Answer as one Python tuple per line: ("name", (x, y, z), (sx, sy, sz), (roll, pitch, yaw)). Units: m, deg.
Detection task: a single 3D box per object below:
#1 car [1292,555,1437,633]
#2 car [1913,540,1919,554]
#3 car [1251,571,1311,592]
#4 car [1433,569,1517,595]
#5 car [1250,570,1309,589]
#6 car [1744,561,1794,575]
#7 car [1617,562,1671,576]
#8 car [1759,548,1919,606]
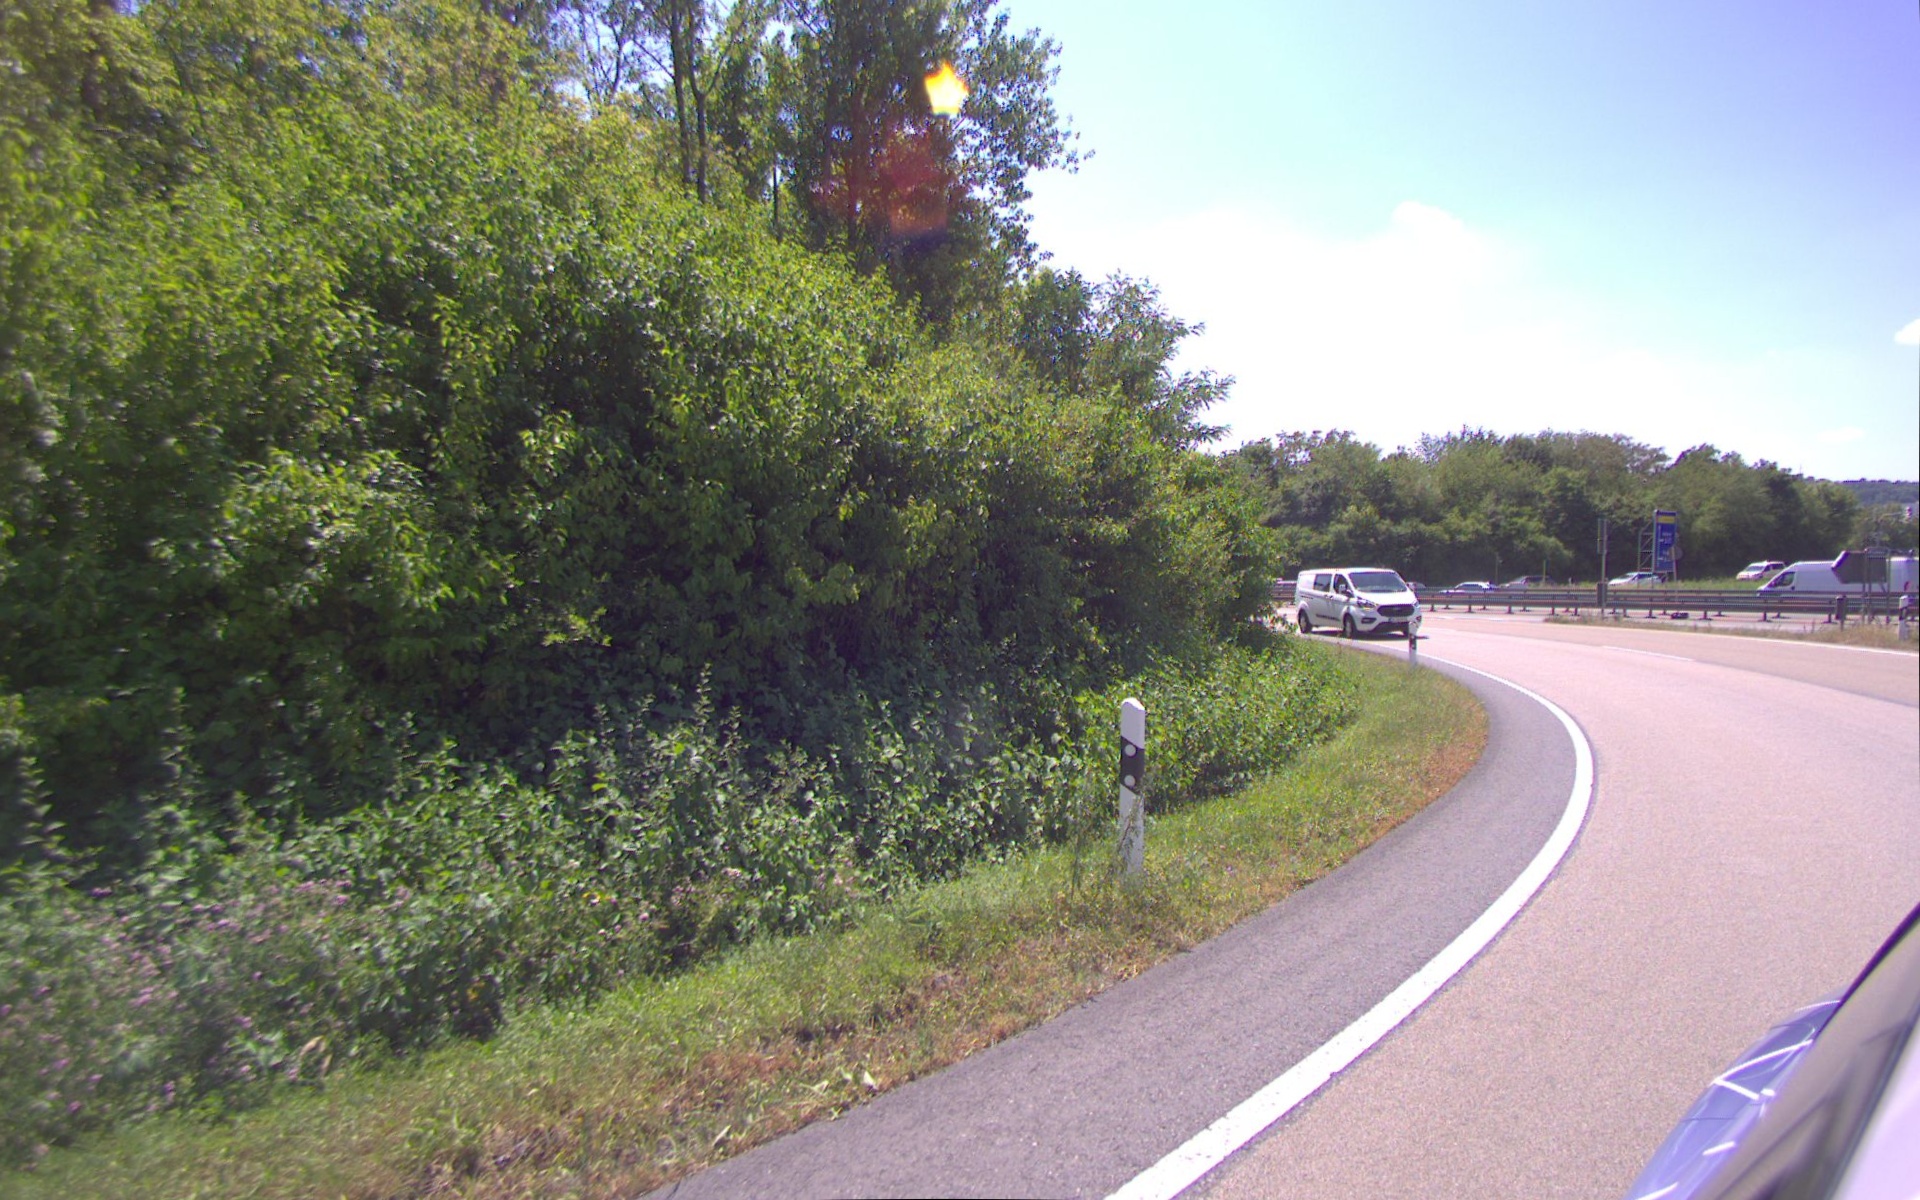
("car", (12.014, -0.206, 30.496), (2.024, 2.038, 5.044), (-3, 1, -3))
("car", (101.279, -5.510, 105.779), (3.499, 1.450, 1.601), (0, 1, -31))
("car", (21.653, -1.242, 68.391), (1.489, 1.364, 3.926), (-2, 1, -30))
("car", (32.545, -1.132, 64.107), (1.670, 1.503, 4.540), (-2, 1, -31))
("car", (29.384, -1.904, 93.046), (5.057, 1.661, 2.002), (0, 1, 24))
("car", (72.888, -2.902, 91.225), (3.990, 1.180, 1.536), (-1, 1, -17))
("car", (59.908, -2.713, 88.691), (3.796, 1.180, 1.535), (-1, 1, -7))
("car", (42.261, -1.093, 47.897), (2.121, 2.569, 6.704), (-2, 1, -29))
